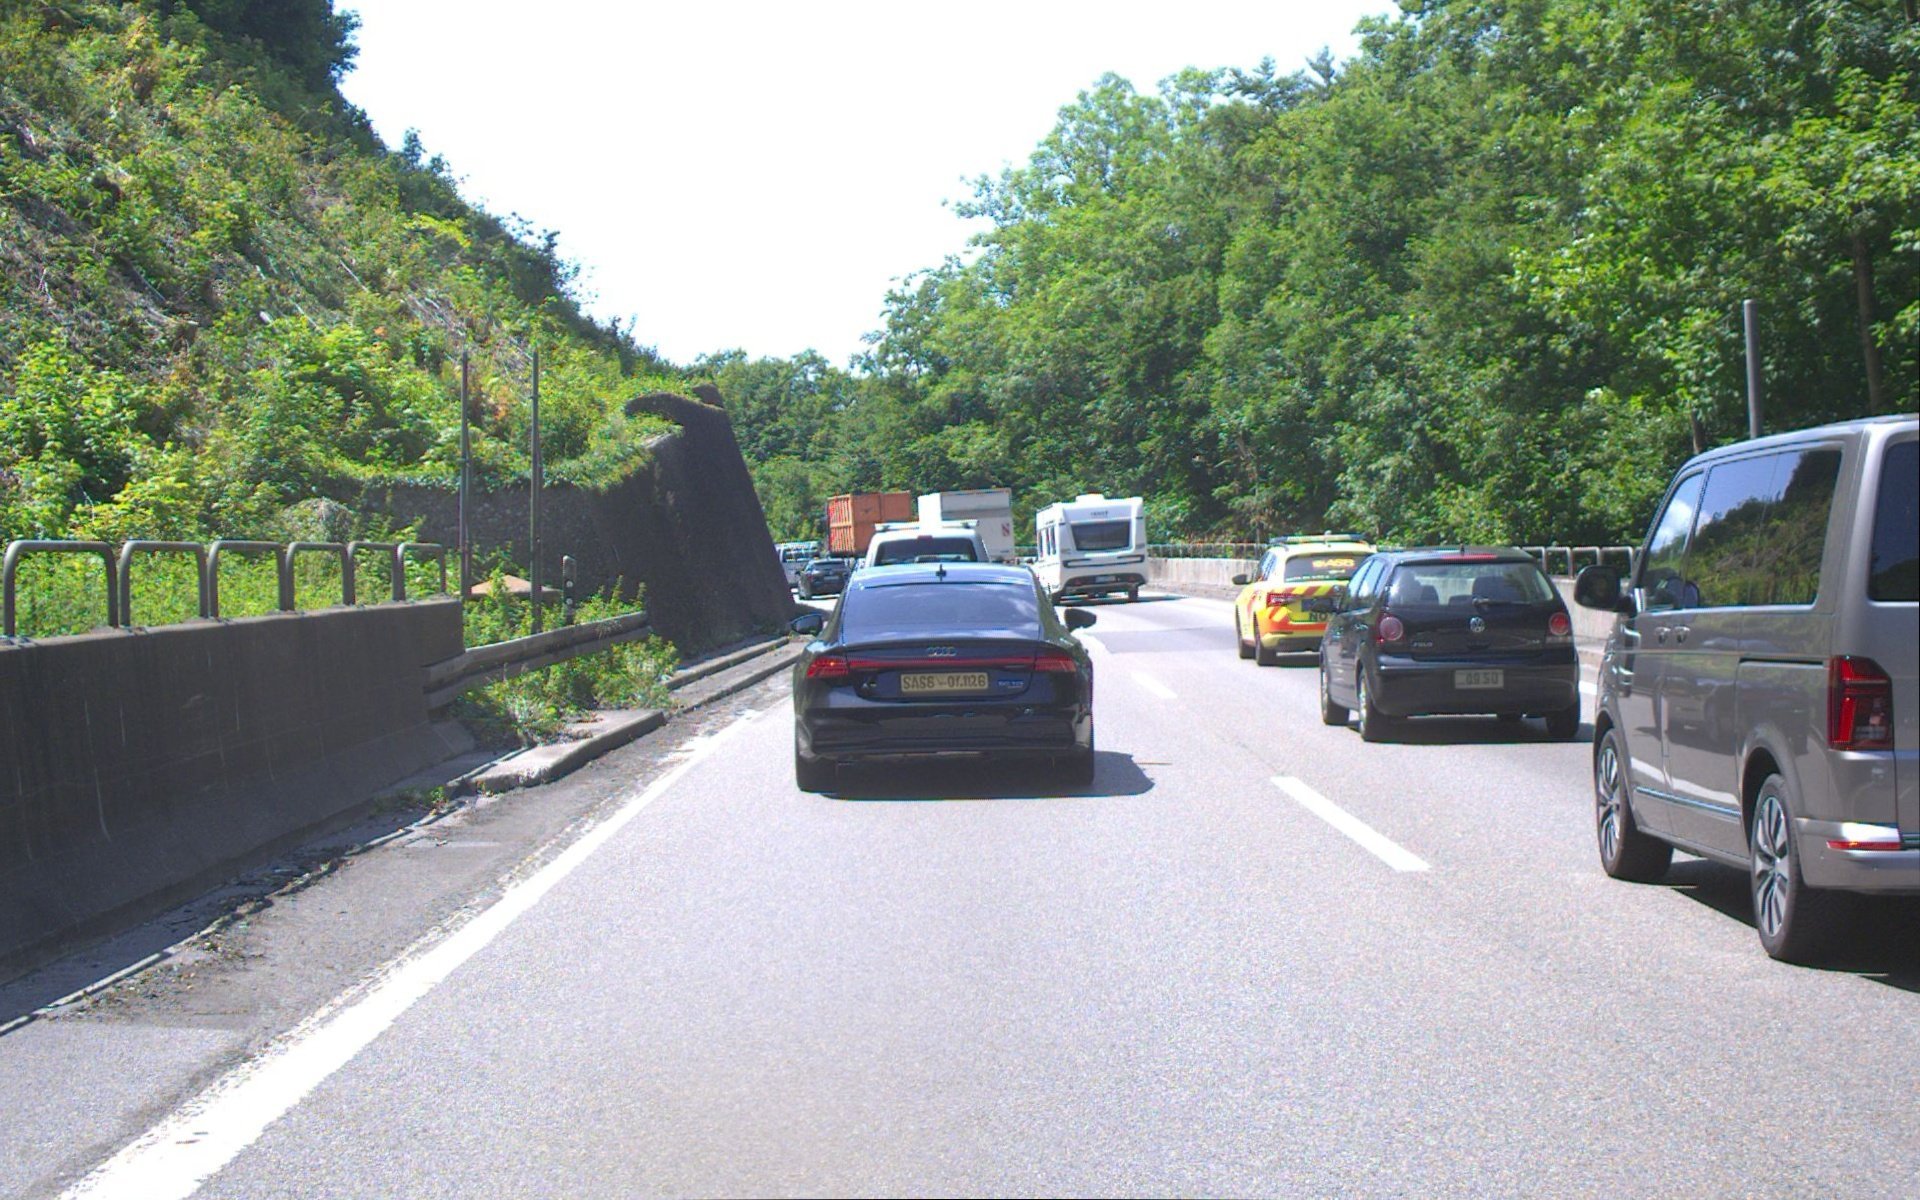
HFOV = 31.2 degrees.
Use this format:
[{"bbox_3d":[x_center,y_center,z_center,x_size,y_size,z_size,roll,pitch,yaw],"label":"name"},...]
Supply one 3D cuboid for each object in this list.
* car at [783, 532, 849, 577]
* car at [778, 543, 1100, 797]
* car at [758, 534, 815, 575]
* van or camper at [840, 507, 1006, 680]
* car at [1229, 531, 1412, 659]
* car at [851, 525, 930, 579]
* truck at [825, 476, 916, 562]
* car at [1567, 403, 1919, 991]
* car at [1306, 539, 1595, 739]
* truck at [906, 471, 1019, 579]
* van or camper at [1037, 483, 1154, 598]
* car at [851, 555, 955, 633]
[{"bbox_3d":[-5.116,-1.635,121.768,1.750,1.565,3.772,0,1,-11],"label":"car"},{"bbox_3d":[-0.208,0.381,22.755,1.904,1.484,4.380,-1,1,-2],"label":"car"},{"bbox_3d":[-6.851,-1.809,135.350,1.750,1.565,3.772,0,1,-10],"label":"car"},{"bbox_3d":[-0.403,-0.110,41.190,1.853,1.935,4.165,1,1,1],"label":"van or camper"},{"bbox_3d":[4.363,-0.092,42.114,1.808,1.472,4.082,1,1,0],"label":"car"},{"bbox_3d":[-2.159,-1.495,106.112,1.993,1.612,4.001,0,1,-8],"label":"car"},{"bbox_3d":[-3.843,-3.405,145.701,3.163,3.456,8.223,1,1,-6],"label":"truck"},{"bbox_3d":[3.803,0.274,13.595,1.940,1.924,4.695,0,1,0],"label":"car"},{"bbox_3d":[3.774,0.252,27.018,1.685,1.453,4.000,0,1,0],"label":"car"},{"bbox_3d":[0.022,-2.688,123.549,2.924,3.674,7.726,1,1,-8],"label":"truck"},{"bbox_3d":[3.426,-1.542,88.328,2.603,2.845,6.336,0,1,-2],"label":"van or camper"},{"bbox_3d":[-1.231,-0.147,72.473,1.894,1.579,3.772,0,1,-6],"label":"car"}]
